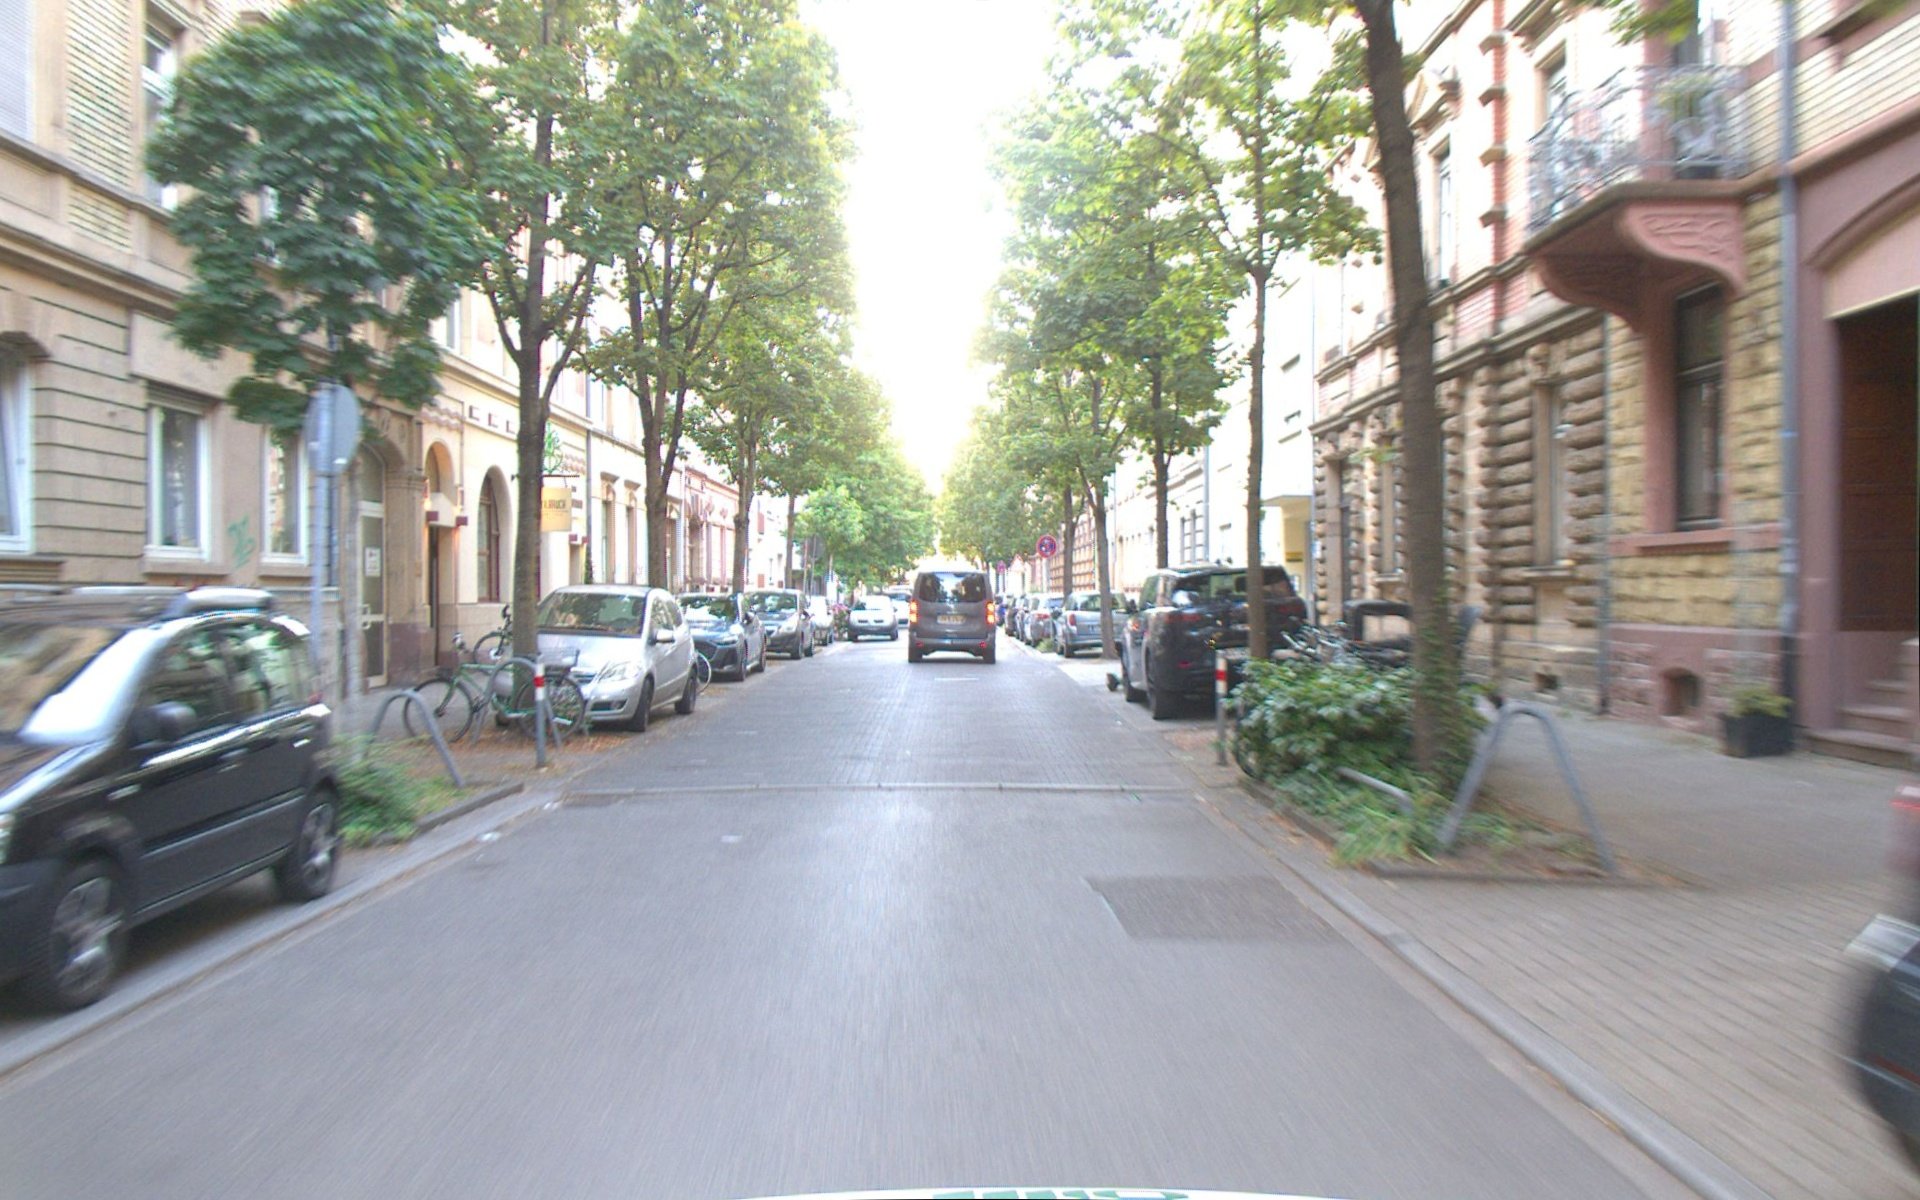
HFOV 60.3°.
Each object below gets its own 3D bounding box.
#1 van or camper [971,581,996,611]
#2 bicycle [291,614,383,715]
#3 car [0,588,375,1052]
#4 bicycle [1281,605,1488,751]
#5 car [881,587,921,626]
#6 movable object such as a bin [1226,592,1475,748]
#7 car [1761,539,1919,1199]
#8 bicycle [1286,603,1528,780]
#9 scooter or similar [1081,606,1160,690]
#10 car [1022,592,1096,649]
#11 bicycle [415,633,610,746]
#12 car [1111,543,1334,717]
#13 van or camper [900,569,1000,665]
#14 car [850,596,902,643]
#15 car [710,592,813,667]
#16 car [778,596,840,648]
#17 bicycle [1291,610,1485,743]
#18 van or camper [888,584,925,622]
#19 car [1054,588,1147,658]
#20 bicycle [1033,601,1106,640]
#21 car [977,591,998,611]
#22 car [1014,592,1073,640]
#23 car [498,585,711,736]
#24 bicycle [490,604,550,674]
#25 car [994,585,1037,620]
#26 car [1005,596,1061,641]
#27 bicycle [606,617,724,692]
[{"bbox_3d":[2.117,-0.350,149.926,1.953,2.644,5.422,0,0,-2],"label":"van or camper"},{"bbox_3d":[-7.562,0.758,20.129,0.452,1.108,1.629,2,1,1],"label":"bicycle"},{"bbox_3d":[-3.926,0.718,7.221,1.488,1.528,3.561,1,0,-1],"label":"car"},{"bbox_3d":[3.695,0.672,14.484,1.661,1.219,0.582,-1,0,3],"label":"bicycle"},{"bbox_3d":[-2.595,0.257,71.723,1.630,1.590,3.997,-1,0,-3],"label":"car"},{"bbox_3d":[3.742,0.660,15.980,2.170,1.328,0.771,-4,0,2],"label":"movable object such as a bin"},{"bbox_3d":[3.427,0.595,3.263,2.740,1.627,1.800,-4,0,0],"label":"car"},{"bbox_3d":[3.669,0.733,13.667,1.725,1.316,0.801,-3,0,-1],"label":"bicycle"},{"bbox_3d":[2.463,0.733,25.319,0.663,1.211,1.111,-3,-1,39],"label":"scooter or similar"},{"bbox_3d":[2.816,0.549,47.712,1.682,1.502,4.366,-2,0,-2],"label":"car"},{"bbox_3d":[-4.482,0.889,16.562,1.836,1.078,0.593,1,0,-20],"label":"bicycle"},{"bbox_3d":[3.183,0.325,21.099,1.973,1.865,4.810,-3,0,0],"label":"car"},{"bbox_3d":[-0.145,0.344,35.568,1.993,1.930,4.271,0,0,1],"label":"van or camper"},{"bbox_3d":[-2.735,0.616,54.344,1.548,1.445,3.752,-1,0,-1],"label":"car"},{"bbox_3d":[-4.375,0.606,37.052,1.769,1.544,4.685,1,0,0],"label":"car"},{"bbox_3d":[-4.513,0.640,49.834,1.555,1.462,3.565,1,0,-1],"label":"car"},{"bbox_3d":[3.890,0.689,15.111,1.623,1.163,0.582,-1,0,3],"label":"bicycle"},{"bbox_3d":[-2.828,0.130,86.982,1.839,1.875,4.751,-1,0,-2],"label":"van or camper"},{"bbox_3d":[3.217,0.488,38.547,1.723,1.488,4.307,-1,0,-1],"label":"car"},{"bbox_3d":[2.968,0.553,44.814,1.889,0.999,0.634,-1,0,-22],"label":"bicycle"},{"bbox_3d":[2.128,0.089,126.217,1.518,1.523,3.611,0,0,2],"label":"car"},{"bbox_3d":[2.659,0.503,53.319,1.602,1.449,3.563,-2,0,-2],"label":"car"},{"bbox_3d":[-4.172,0.642,19.973,1.641,1.635,3.862,0,0,1],"label":"car"},{"bbox_3d":[-7.382,0.637,27.809,0.515,1.116,1.795,-1,0,0],"label":"bicycle"},{"bbox_3d":[2.439,0.101,73.217,1.595,1.492,4.244,-1,0,-2],"label":"car"},{"bbox_3d":[2.530,0.619,58.319,1.730,1.439,4.473,-3,0,0],"label":"car"},{"bbox_3d":[-4.387,0.806,24.628,1.649,1.021,0.430,2,0,1],"label":"bicycle"}]
